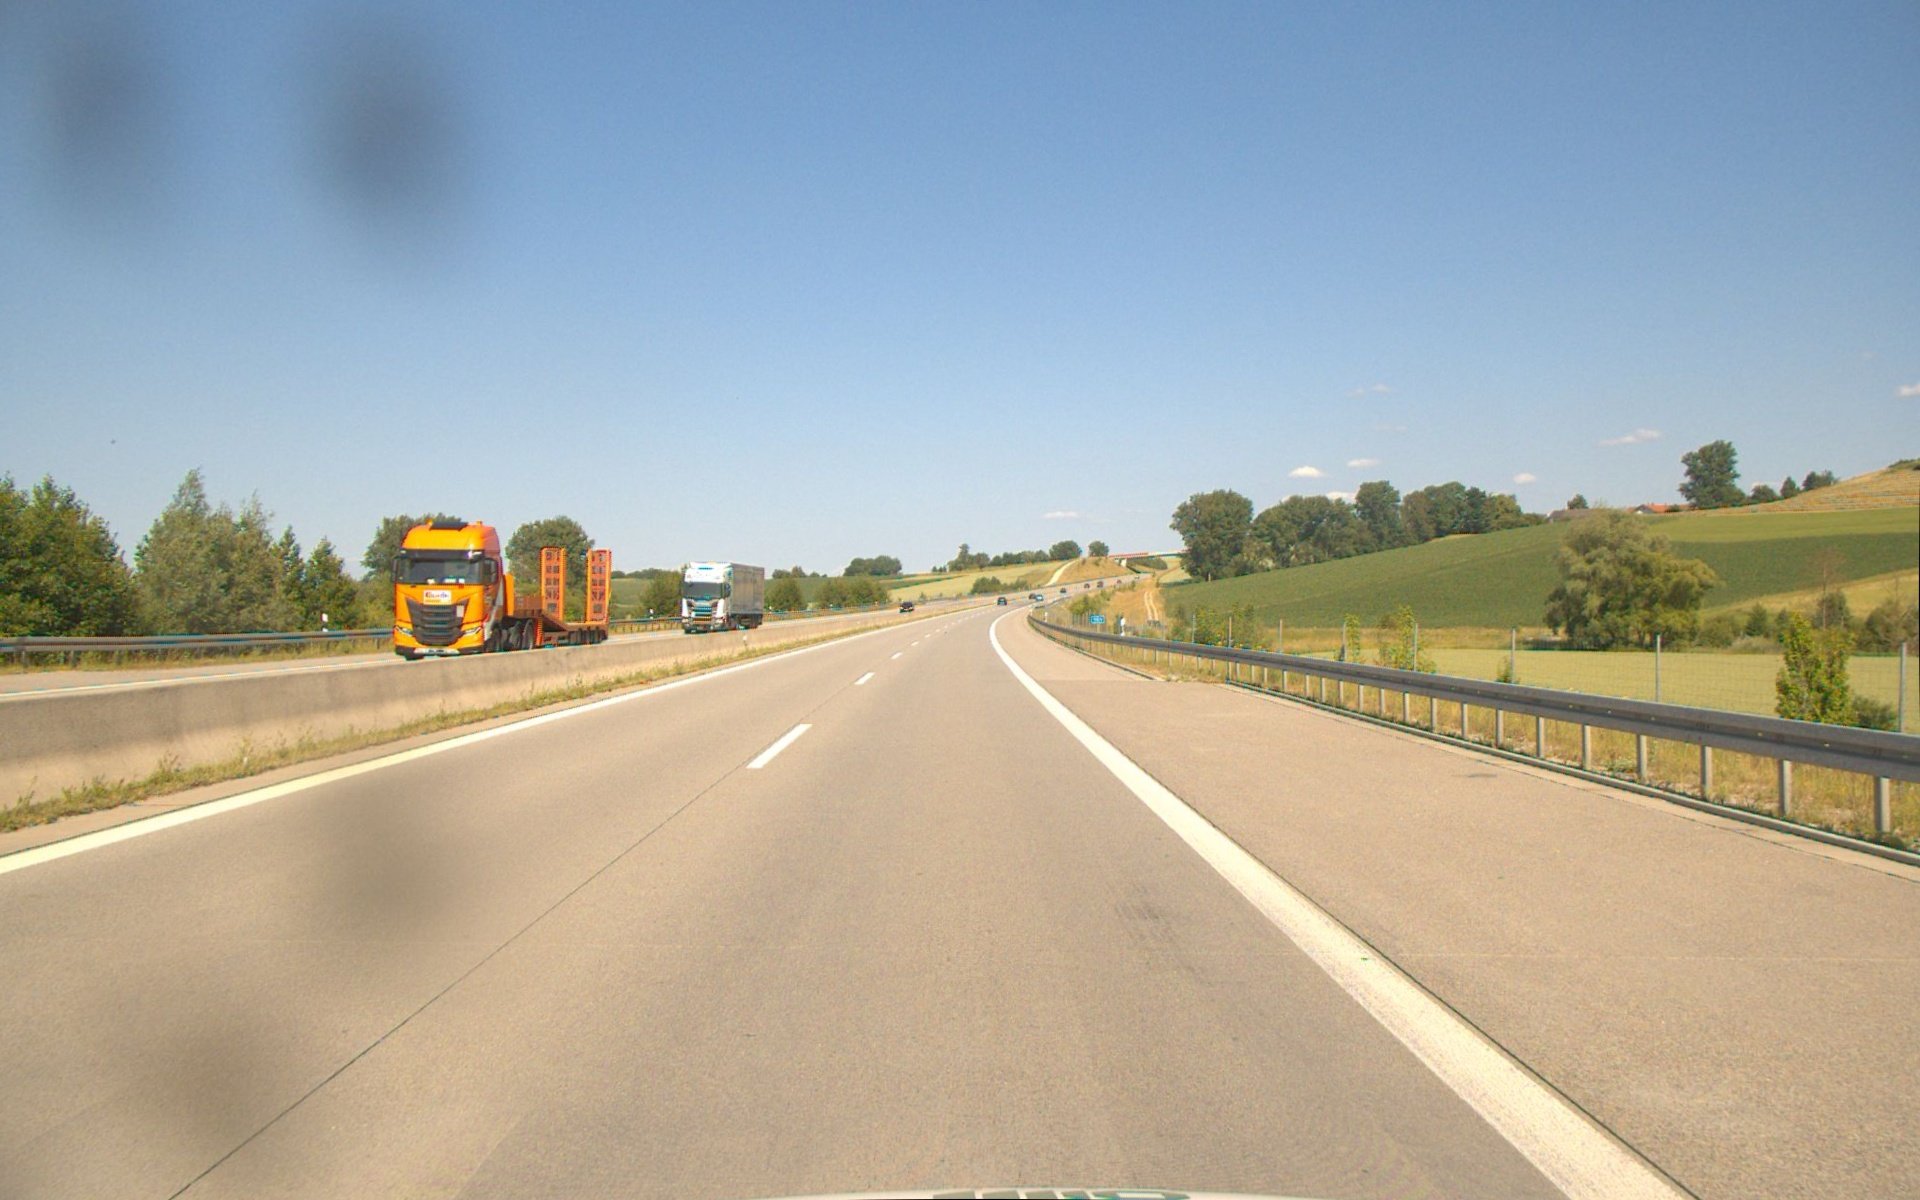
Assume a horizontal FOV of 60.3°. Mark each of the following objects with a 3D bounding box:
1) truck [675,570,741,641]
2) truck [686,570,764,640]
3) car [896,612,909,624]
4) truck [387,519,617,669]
[{"bbox_3d":[-14.468,0.347,95.234,2.802,3.941,5.983,0,-1,0],"label":"truck"},{"bbox_3d":[-14.437,0.357,102.643,2.801,4.078,13.867,0,-1,0],"label":"truck"},{"bbox_3d":[-8.059,2.562,232.937,1.675,1.617,4.627,1,-1,0],"label":"car"},{"bbox_3d":[-14.292,-0.065,53.727,2.809,4.086,17.112,0,-1,0],"label":"truck"}]
